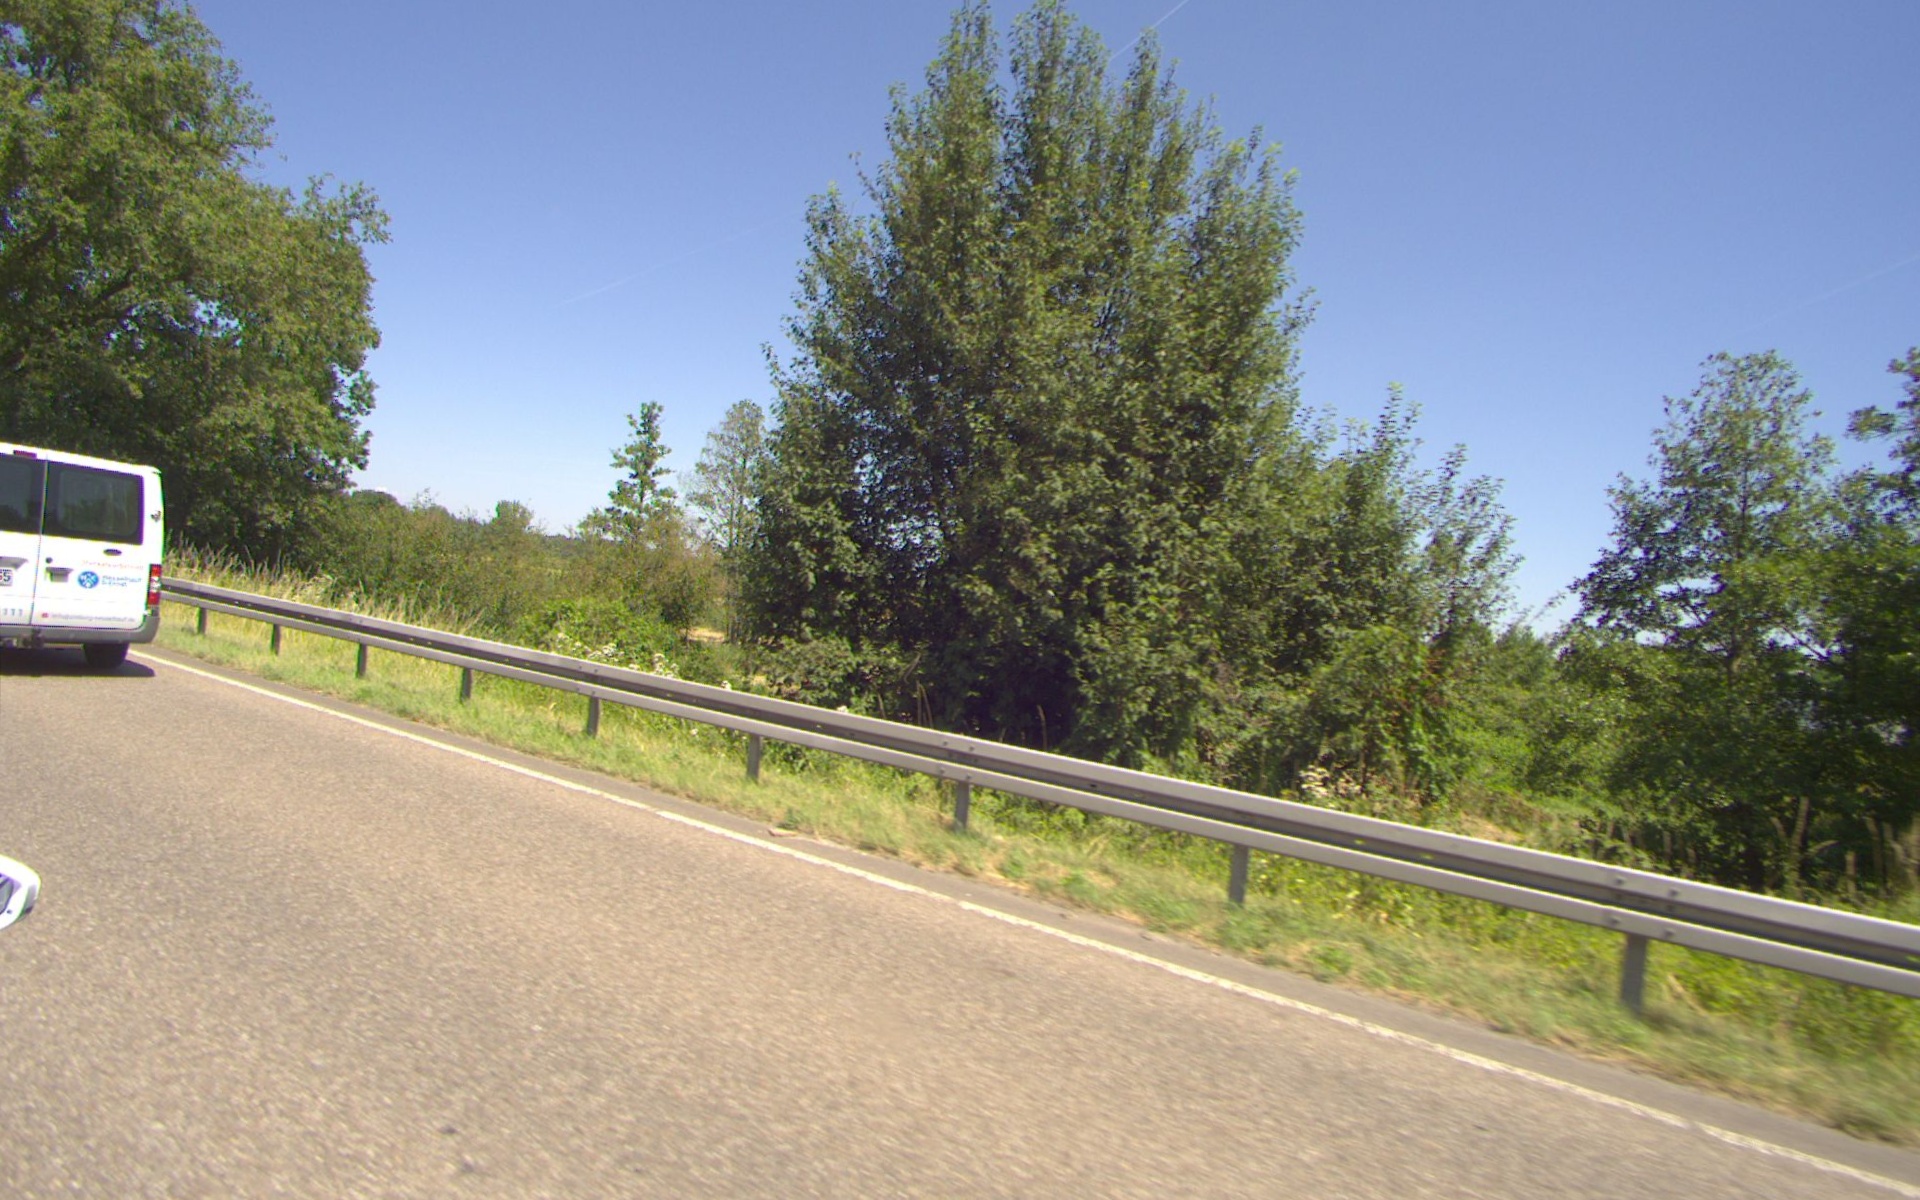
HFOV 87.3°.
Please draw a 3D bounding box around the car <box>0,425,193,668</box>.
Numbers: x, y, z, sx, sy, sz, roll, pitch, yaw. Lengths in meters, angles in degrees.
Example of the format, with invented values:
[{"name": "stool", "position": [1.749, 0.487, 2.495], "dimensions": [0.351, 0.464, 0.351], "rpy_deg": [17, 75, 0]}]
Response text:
[{"name": "car", "position": [-9.944, -0.631, 9.866], "dimensions": [4.949, 2.014, 2.008], "rpy_deg": [6, 0, 30]}]
